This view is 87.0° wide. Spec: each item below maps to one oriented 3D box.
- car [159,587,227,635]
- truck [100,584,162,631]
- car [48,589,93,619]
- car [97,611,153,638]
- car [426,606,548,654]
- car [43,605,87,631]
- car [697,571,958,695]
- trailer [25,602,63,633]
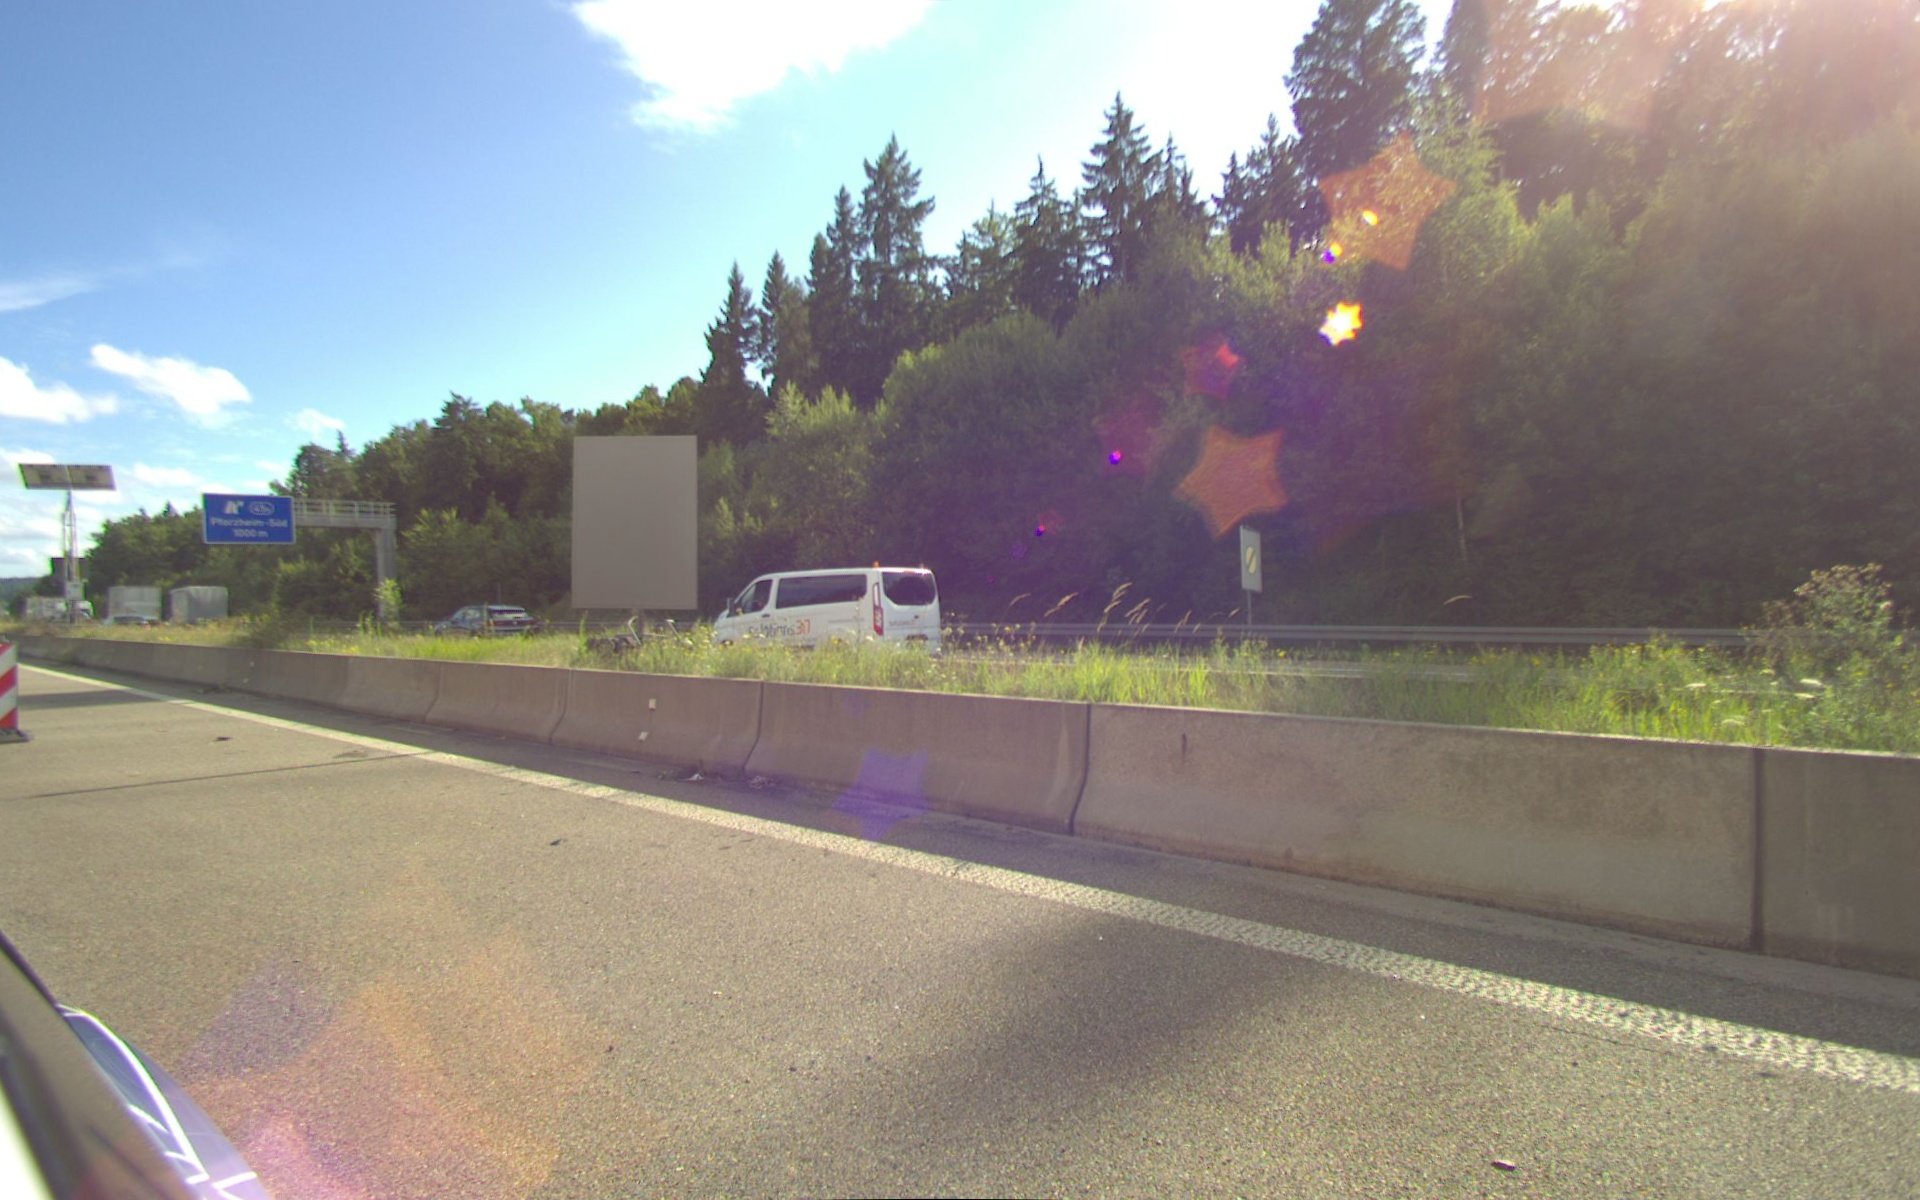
[{"bbox_3d":[-56.307,0.776,74.236,7.448,3.395,2.461,-1,0,41],"label":"car"},{"bbox_3d":[-75.462,0.705,92.021,10.181,4.022,2.771,-1,-1,41],"label":"truck"},{"bbox_3d":[-77.050,0.380,87.614,6.329,2.470,2.138,-1,0,41],"label":"car"},{"bbox_3d":[-46.092,1.313,55.834,4.309,1.398,1.760,-1,0,42],"label":"car"},{"bbox_3d":[-14.883,0.912,31.753,4.286,1.373,1.938,-1,0,41],"label":"car"},{"bbox_3d":[-65.107,1.303,73.595,4.117,1.826,1.924,-1,0,41],"label":"car"},{"bbox_3d":[-2.538,0.566,18.736,4.825,2.029,1.975,-1,0,38],"label":"car"},{"bbox_3d":[-121.086,2.266,133.801,8.484,3.953,2.762,-1,0,41],"label":"trailer"}]
